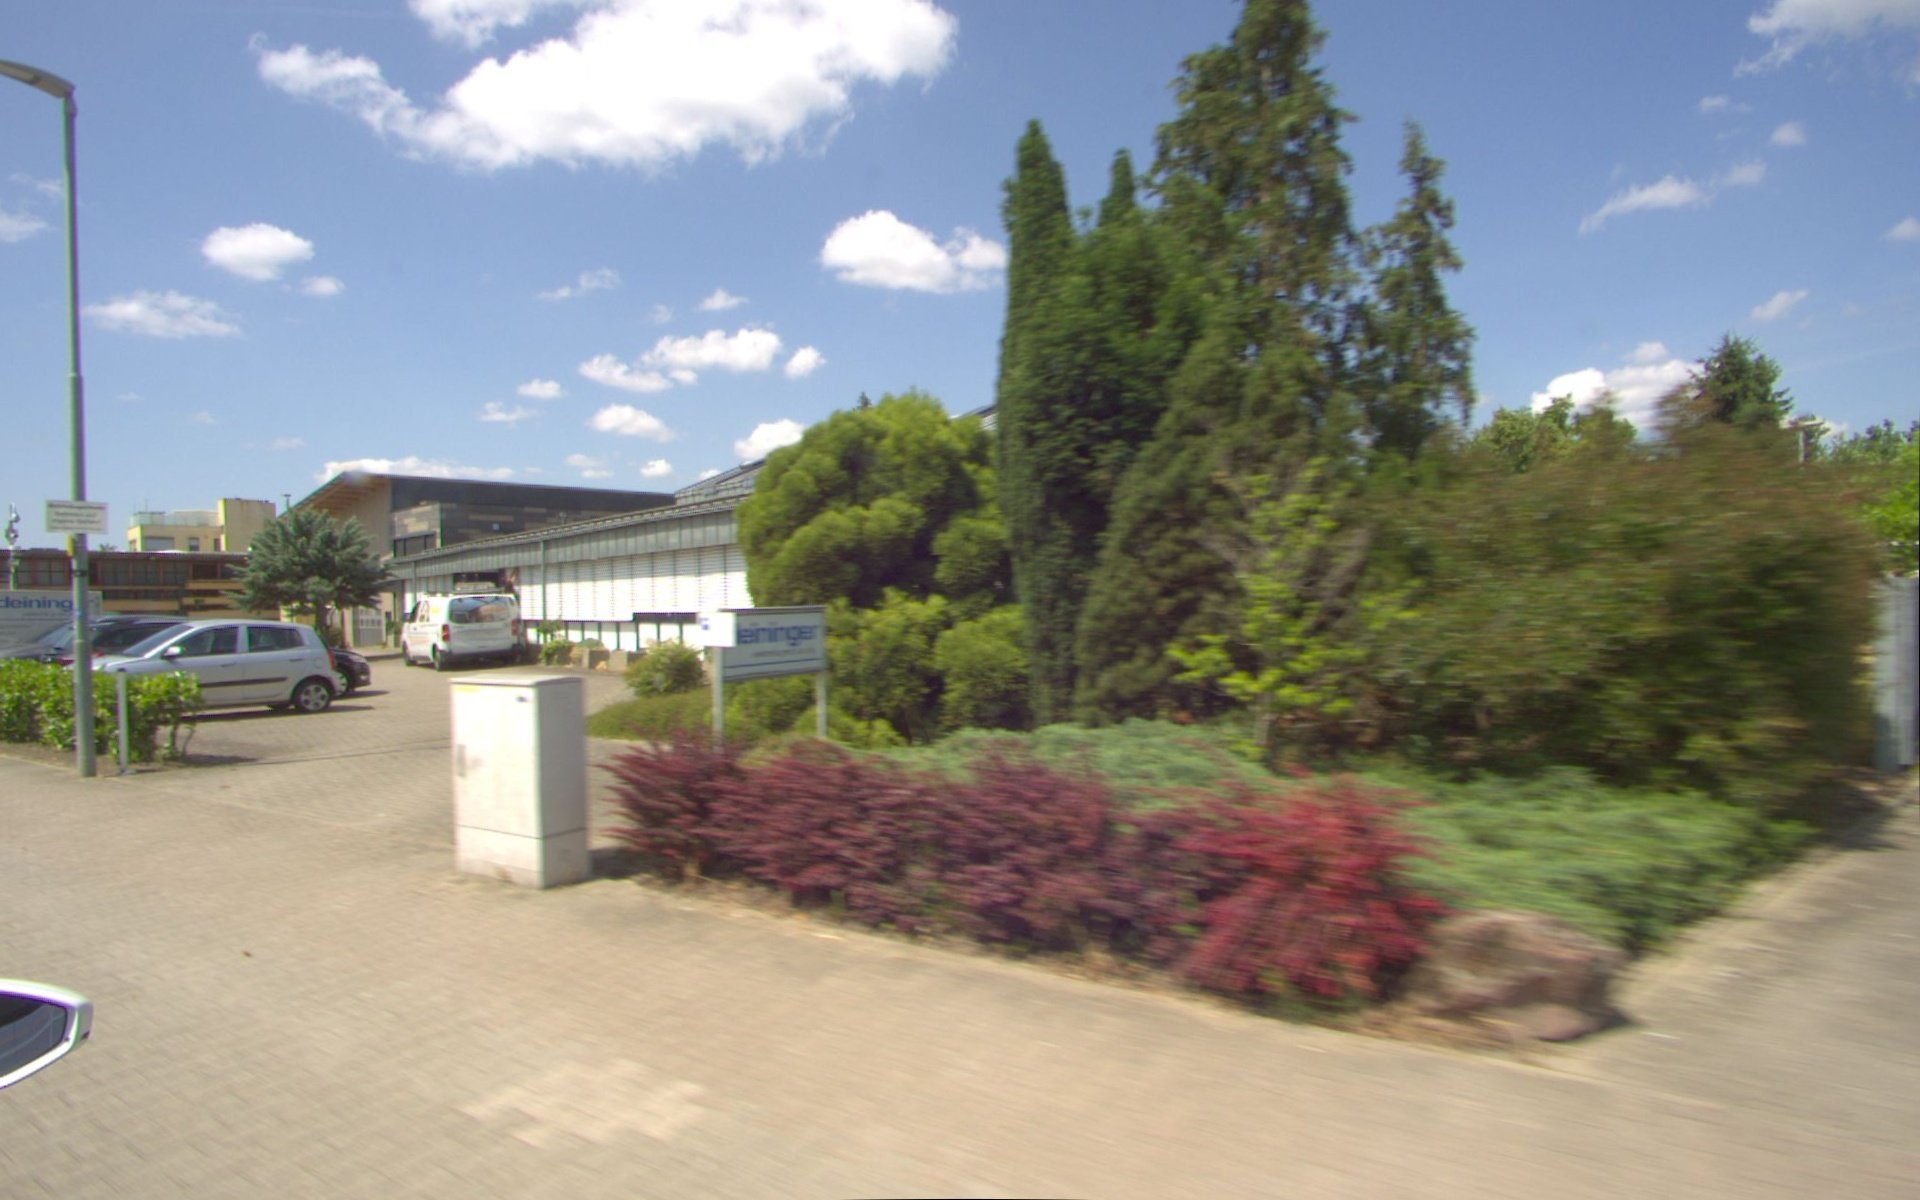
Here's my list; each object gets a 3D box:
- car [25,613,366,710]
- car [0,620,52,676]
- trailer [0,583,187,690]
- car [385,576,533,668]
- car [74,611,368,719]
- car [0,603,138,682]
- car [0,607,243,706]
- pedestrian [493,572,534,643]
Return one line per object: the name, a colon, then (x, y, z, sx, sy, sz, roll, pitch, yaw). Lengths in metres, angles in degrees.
car: (-13.295, 0.986, 17.750, 1.788, 1.459, 4.468, -1, -1, 30)
car: (-26.518, 1.269, 26.162, 1.792, 1.474, 3.836, -1, -1, 34)
trailer: (-18.626, 0.726, 20.539, 1.972, 2.040, 3.979, -1, -1, 33)
car: (-13.351, 0.552, 26.553, 2.086, 2.154, 4.670, -5, 2, -44)
car: (-11.491, 0.923, 15.737, 1.746, 1.420, 3.341, 0, 1, 36)
car: (-21.224, 0.974, 22.230, 1.775, 1.655, 4.203, -3, 0, 32)
car: (-16.282, 1.019, 18.961, 1.688, 1.595, 4.029, -3, 0, 28)
pedestrian: (-12.636, 0.217, 28.350, 0.680, 1.968, 0.714, -2, 0, 32)
